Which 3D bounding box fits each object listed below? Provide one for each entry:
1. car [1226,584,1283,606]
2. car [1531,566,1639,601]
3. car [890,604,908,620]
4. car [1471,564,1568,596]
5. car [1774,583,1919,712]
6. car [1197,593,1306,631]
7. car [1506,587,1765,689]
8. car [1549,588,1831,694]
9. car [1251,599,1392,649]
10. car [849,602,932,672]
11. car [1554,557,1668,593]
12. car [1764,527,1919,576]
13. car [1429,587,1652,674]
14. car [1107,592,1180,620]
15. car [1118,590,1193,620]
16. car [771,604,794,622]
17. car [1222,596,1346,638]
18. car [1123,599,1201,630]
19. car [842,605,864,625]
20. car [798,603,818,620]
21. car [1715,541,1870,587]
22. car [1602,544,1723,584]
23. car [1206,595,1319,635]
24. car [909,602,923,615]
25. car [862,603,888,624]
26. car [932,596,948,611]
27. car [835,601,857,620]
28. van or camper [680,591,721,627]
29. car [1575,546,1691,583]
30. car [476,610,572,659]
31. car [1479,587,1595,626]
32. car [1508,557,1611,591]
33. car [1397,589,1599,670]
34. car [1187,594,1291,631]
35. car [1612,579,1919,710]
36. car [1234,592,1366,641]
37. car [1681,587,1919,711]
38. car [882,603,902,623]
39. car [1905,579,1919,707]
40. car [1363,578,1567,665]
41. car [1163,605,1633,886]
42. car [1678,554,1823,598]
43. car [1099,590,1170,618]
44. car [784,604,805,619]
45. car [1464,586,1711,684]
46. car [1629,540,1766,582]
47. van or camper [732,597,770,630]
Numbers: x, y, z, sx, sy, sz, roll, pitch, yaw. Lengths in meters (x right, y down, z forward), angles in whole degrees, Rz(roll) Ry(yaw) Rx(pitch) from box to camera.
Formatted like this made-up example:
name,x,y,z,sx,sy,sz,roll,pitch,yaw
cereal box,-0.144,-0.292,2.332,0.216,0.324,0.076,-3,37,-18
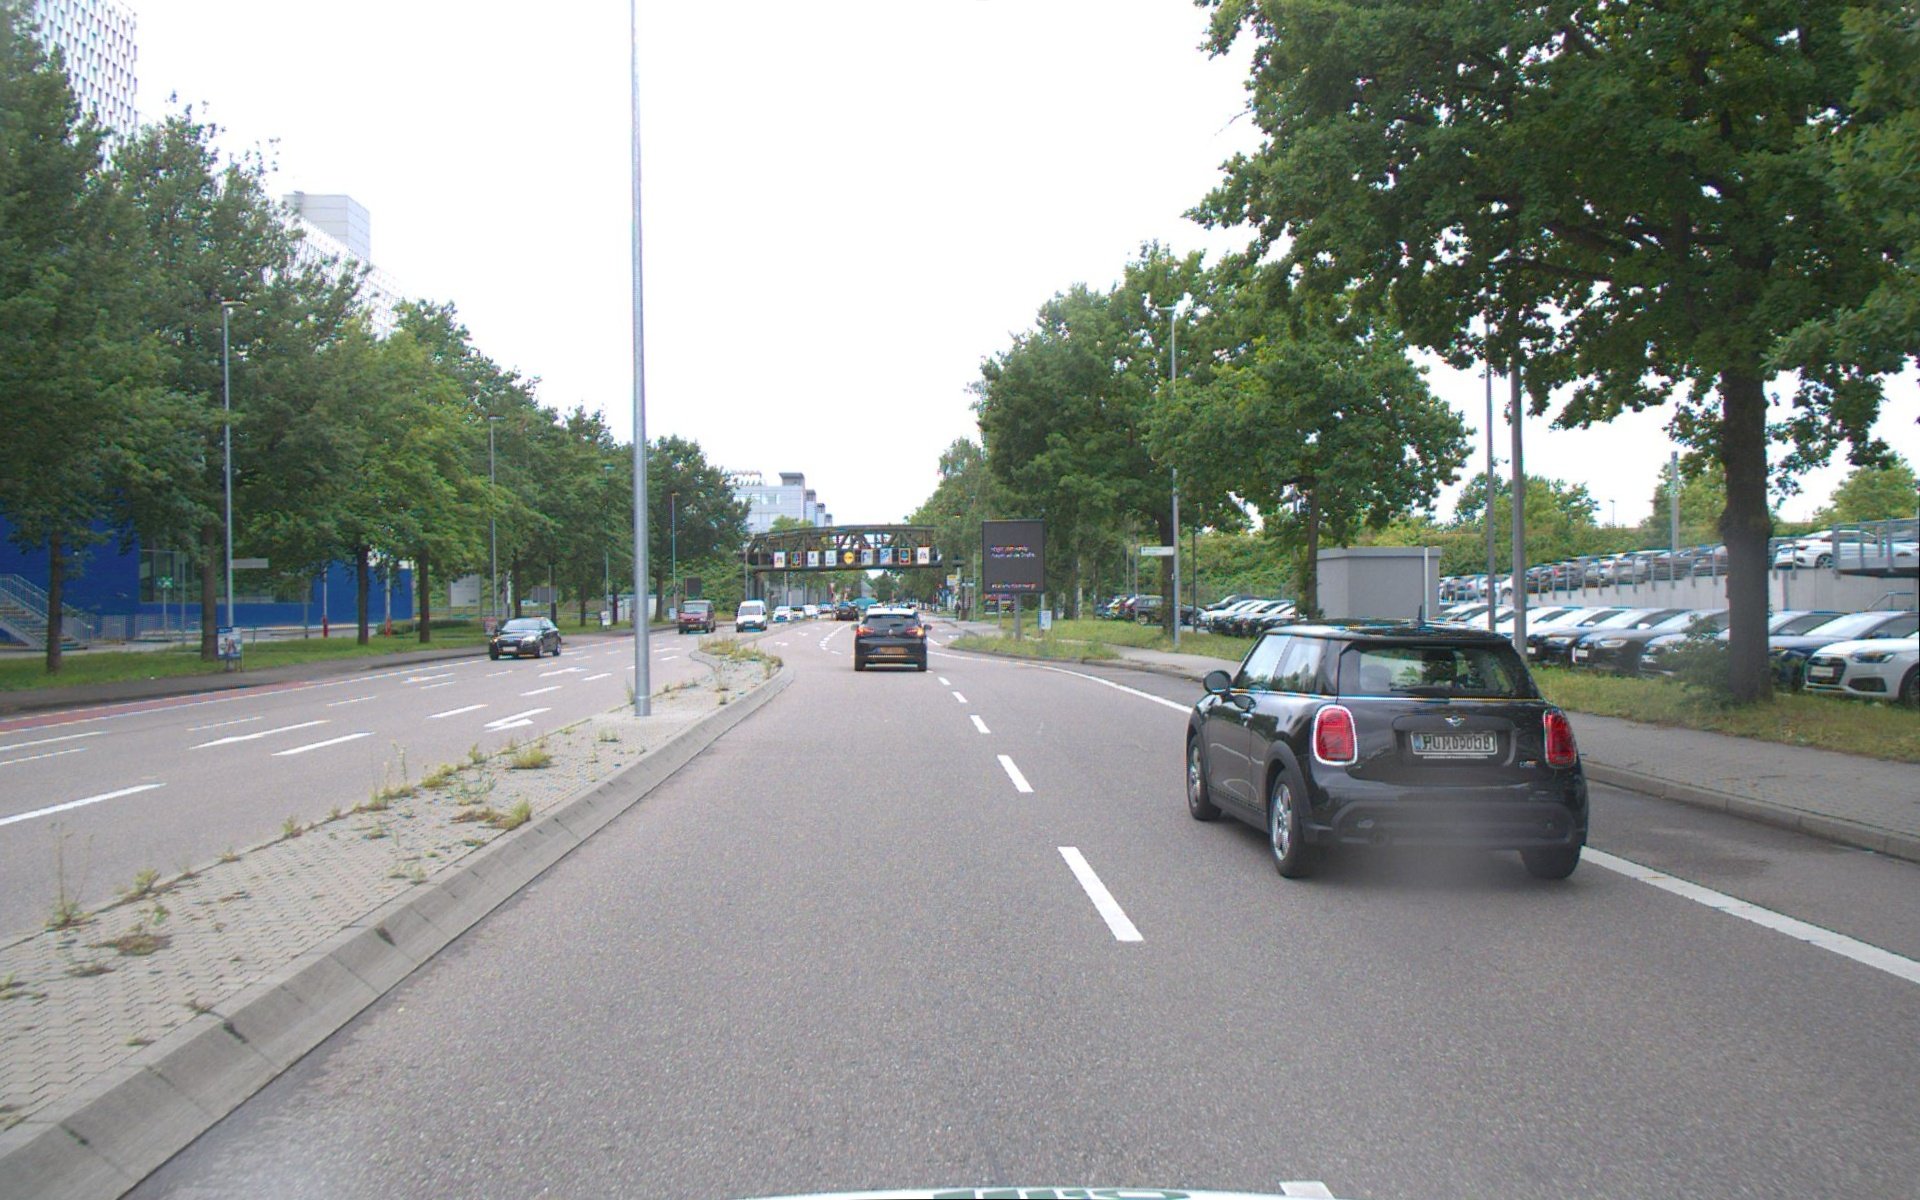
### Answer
name,x,y,z,sx,sy,sz,roll,pitch,yaw
car,21.189,-0.352,119.019,3.903,1.460,1.731,1,2,4
car,27.131,-0.744,71.846,4.004,1.460,1.729,0,2,-4
car,-6.821,1.309,185.804,1.845,1.690,3.782,0,2,0
car,26.952,-0.980,79.751,4.116,1.460,1.729,0,2,-4
car,13.217,0.712,21.610,4.113,1.511,1.958,4,1,-3
car,11.771,0.485,66.906,4.004,1.460,1.845,0,2,-4
car,13.000,0.700,32.014,4.092,1.494,2.000,5,2,-1
car,12.914,0.701,29.446,4.092,1.481,1.933,4,1,-1
car,12.371,0.810,56.795,4.356,1.599,1.999,-1,0,-3
car,-1.585,0.824,39.013,1.721,1.459,4.001,-1,1,1
car,27.213,-1.039,69.195,4.004,1.460,1.946,0,2,-4
car,28.640,-1.563,53.641,4.249,1.522,1.881,0,2,-4
car,12.990,0.661,37.201,4.208,1.530,2.029,5,0,-1
car,10.086,0.339,91.056,3.903,1.460,1.731,1,2,4
car,10.385,0.260,88.049,3.903,1.460,1.731,1,2,4
car,-15.897,1.120,148.193,1.718,1.471,3.340,0,2,0
car,12.096,0.620,61.891,4.256,1.514,1.842,1,0,-3
car,10.374,0.730,85.246,3.903,1.460,1.731,1,2,4
car,-10.906,1.537,168.568,1.910,1.847,4.001,0,2,0
car,-17.066,1.284,185.675,1.900,1.705,3.782,0,2,0
car,28.385,-1.233,56.473,4.249,1.522,2.068,0,2,-4
car,27.281,-1.404,64.300,4.004,1.522,1.729,0,2,-4
car,11.770,0.569,64.498,4.004,1.460,1.821,0,2,-4
car,-6.584,1.245,248.897,1.910,1.847,4.001,0,2,0
car,-7.473,1.175,145.530,2.091,1.690,3.782,0,2,0
car,-2.591,0.446,214.577,1.910,1.847,4.001,0,2,0
car,-11.179,0.992,161.803,1.845,1.690,3.782,0,2,0
van or camper,-15.536,0.502,99.306,1.838,2.021,4.887,-2,1,-2
car,27.202,-1.442,66.938,4.004,1.460,1.729,0,2,-4
car,-15.190,1.170,57.811,1.878,1.528,4.254,-3,-1,4
car,22.811,0.260,65.446,4.004,1.460,1.729,0,2,-4
car,26.996,-1.181,74.571,4.004,1.460,1.729,0,2,-4
car,12.836,0.673,39.607,4.092,1.470,1.960,5,2,-1
car,11.665,0.497,69.220,4.004,1.460,1.729,0,2,-4
car,12.992,0.683,26.629,4.092,1.691,2.000,4,1,-1
car,12.215,0.580,59.528,4.257,1.530,1.928,3,0,-3
car,13.053,0.742,24.162,4.098,1.511,1.977,4,1,-2
car,-7.167,1.367,175.152,1.910,1.847,4.001,0,2,0
car,13.401,0.689,19.010,3.983,1.511,1.818,5,1,-3
car,12.829,0.521,42.209,4.459,1.731,2.000,5,2,-1
car,2.526,0.793,10.479,1.751,1.440,3.639,-1,-1,-5
car,28.117,-0.870,58.902,4.249,1.522,1.969,0,2,-4
car,9.827,0.226,93.401,3.903,1.460,1.731,1,2,4
car,-16.431,1.122,164.398,1.684,1.395,3.440,0,2,0
car,13.069,0.707,34.627,4.306,1.546,2.000,5,2,-2
car,27.467,-1.448,61.671,4.249,1.522,1.881,0,2,-4
van or camper,-12.445,0.754,98.657,1.720,1.777,4.405,-4,1,-2
